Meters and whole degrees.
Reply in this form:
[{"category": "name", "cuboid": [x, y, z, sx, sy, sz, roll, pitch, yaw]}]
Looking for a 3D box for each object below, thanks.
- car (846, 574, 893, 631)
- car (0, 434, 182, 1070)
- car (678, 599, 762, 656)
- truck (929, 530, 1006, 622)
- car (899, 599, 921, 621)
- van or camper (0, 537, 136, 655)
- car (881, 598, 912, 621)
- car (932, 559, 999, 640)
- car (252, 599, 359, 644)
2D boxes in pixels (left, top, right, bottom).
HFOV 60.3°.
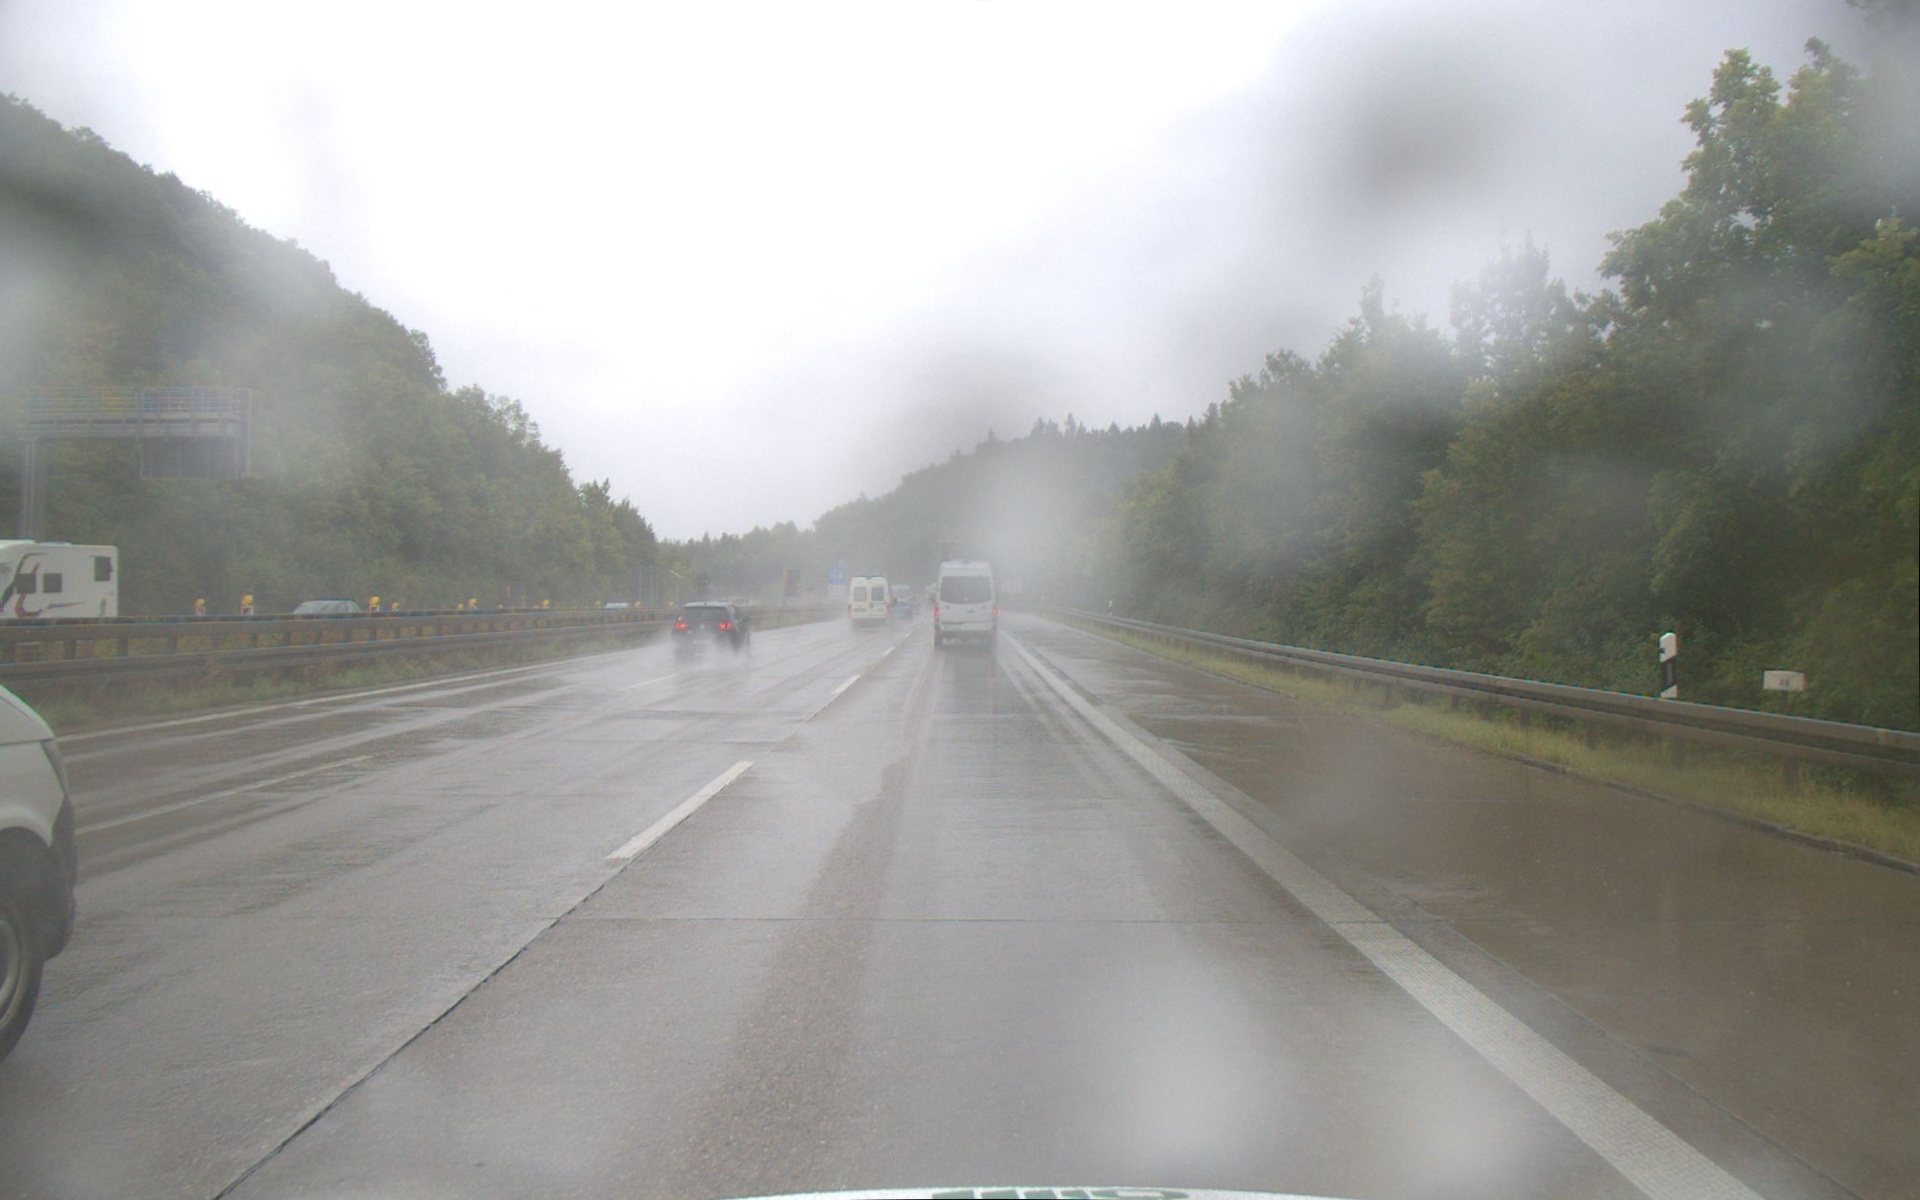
[{"category": "car", "cuboid": [-4.162, 0.106, 77.079, 1.957, 2.474, 5.788, 2, 0, -2]}, {"category": "car", "cuboid": [-3.822, 0.456, 3.641, 1.861, 1.927, 5.042, 0, 0, -1]}, {"category": "car", "cuboid": [-6.244, 0.707, 43.429, 1.705, 1.412, 4.319, 0, 0, -2]}, {"category": "truck", "cuboid": [0.266, -1.213, 77.924, 3.316, 4.037, 8.666, -1, 2, -1]}, {"category": "car", "cuboid": [-4.338, 0.836, 144.763, 1.831, 1.841, 4.187, 2, 0, -2]}, {"category": "van or camper", "cuboid": [-23.848, -0.098, 41.589, 2.504, 2.765, 7.498, 0, 0, 0]}, {"category": "car", "cuboid": [-4.039, 0.579, 105.110, 1.819, 1.362, 4.348, 2, 0, -4]}, {"category": "car", "cuboid": [0.125, -0.006, 52.455, 1.861, 2.374, 5.249, 2, 0, -2]}, {"category": "car", "cuboid": [-20.655, 0.654, 52.361, 1.717, 1.326, 4.342, 2, 0, -1]}]
